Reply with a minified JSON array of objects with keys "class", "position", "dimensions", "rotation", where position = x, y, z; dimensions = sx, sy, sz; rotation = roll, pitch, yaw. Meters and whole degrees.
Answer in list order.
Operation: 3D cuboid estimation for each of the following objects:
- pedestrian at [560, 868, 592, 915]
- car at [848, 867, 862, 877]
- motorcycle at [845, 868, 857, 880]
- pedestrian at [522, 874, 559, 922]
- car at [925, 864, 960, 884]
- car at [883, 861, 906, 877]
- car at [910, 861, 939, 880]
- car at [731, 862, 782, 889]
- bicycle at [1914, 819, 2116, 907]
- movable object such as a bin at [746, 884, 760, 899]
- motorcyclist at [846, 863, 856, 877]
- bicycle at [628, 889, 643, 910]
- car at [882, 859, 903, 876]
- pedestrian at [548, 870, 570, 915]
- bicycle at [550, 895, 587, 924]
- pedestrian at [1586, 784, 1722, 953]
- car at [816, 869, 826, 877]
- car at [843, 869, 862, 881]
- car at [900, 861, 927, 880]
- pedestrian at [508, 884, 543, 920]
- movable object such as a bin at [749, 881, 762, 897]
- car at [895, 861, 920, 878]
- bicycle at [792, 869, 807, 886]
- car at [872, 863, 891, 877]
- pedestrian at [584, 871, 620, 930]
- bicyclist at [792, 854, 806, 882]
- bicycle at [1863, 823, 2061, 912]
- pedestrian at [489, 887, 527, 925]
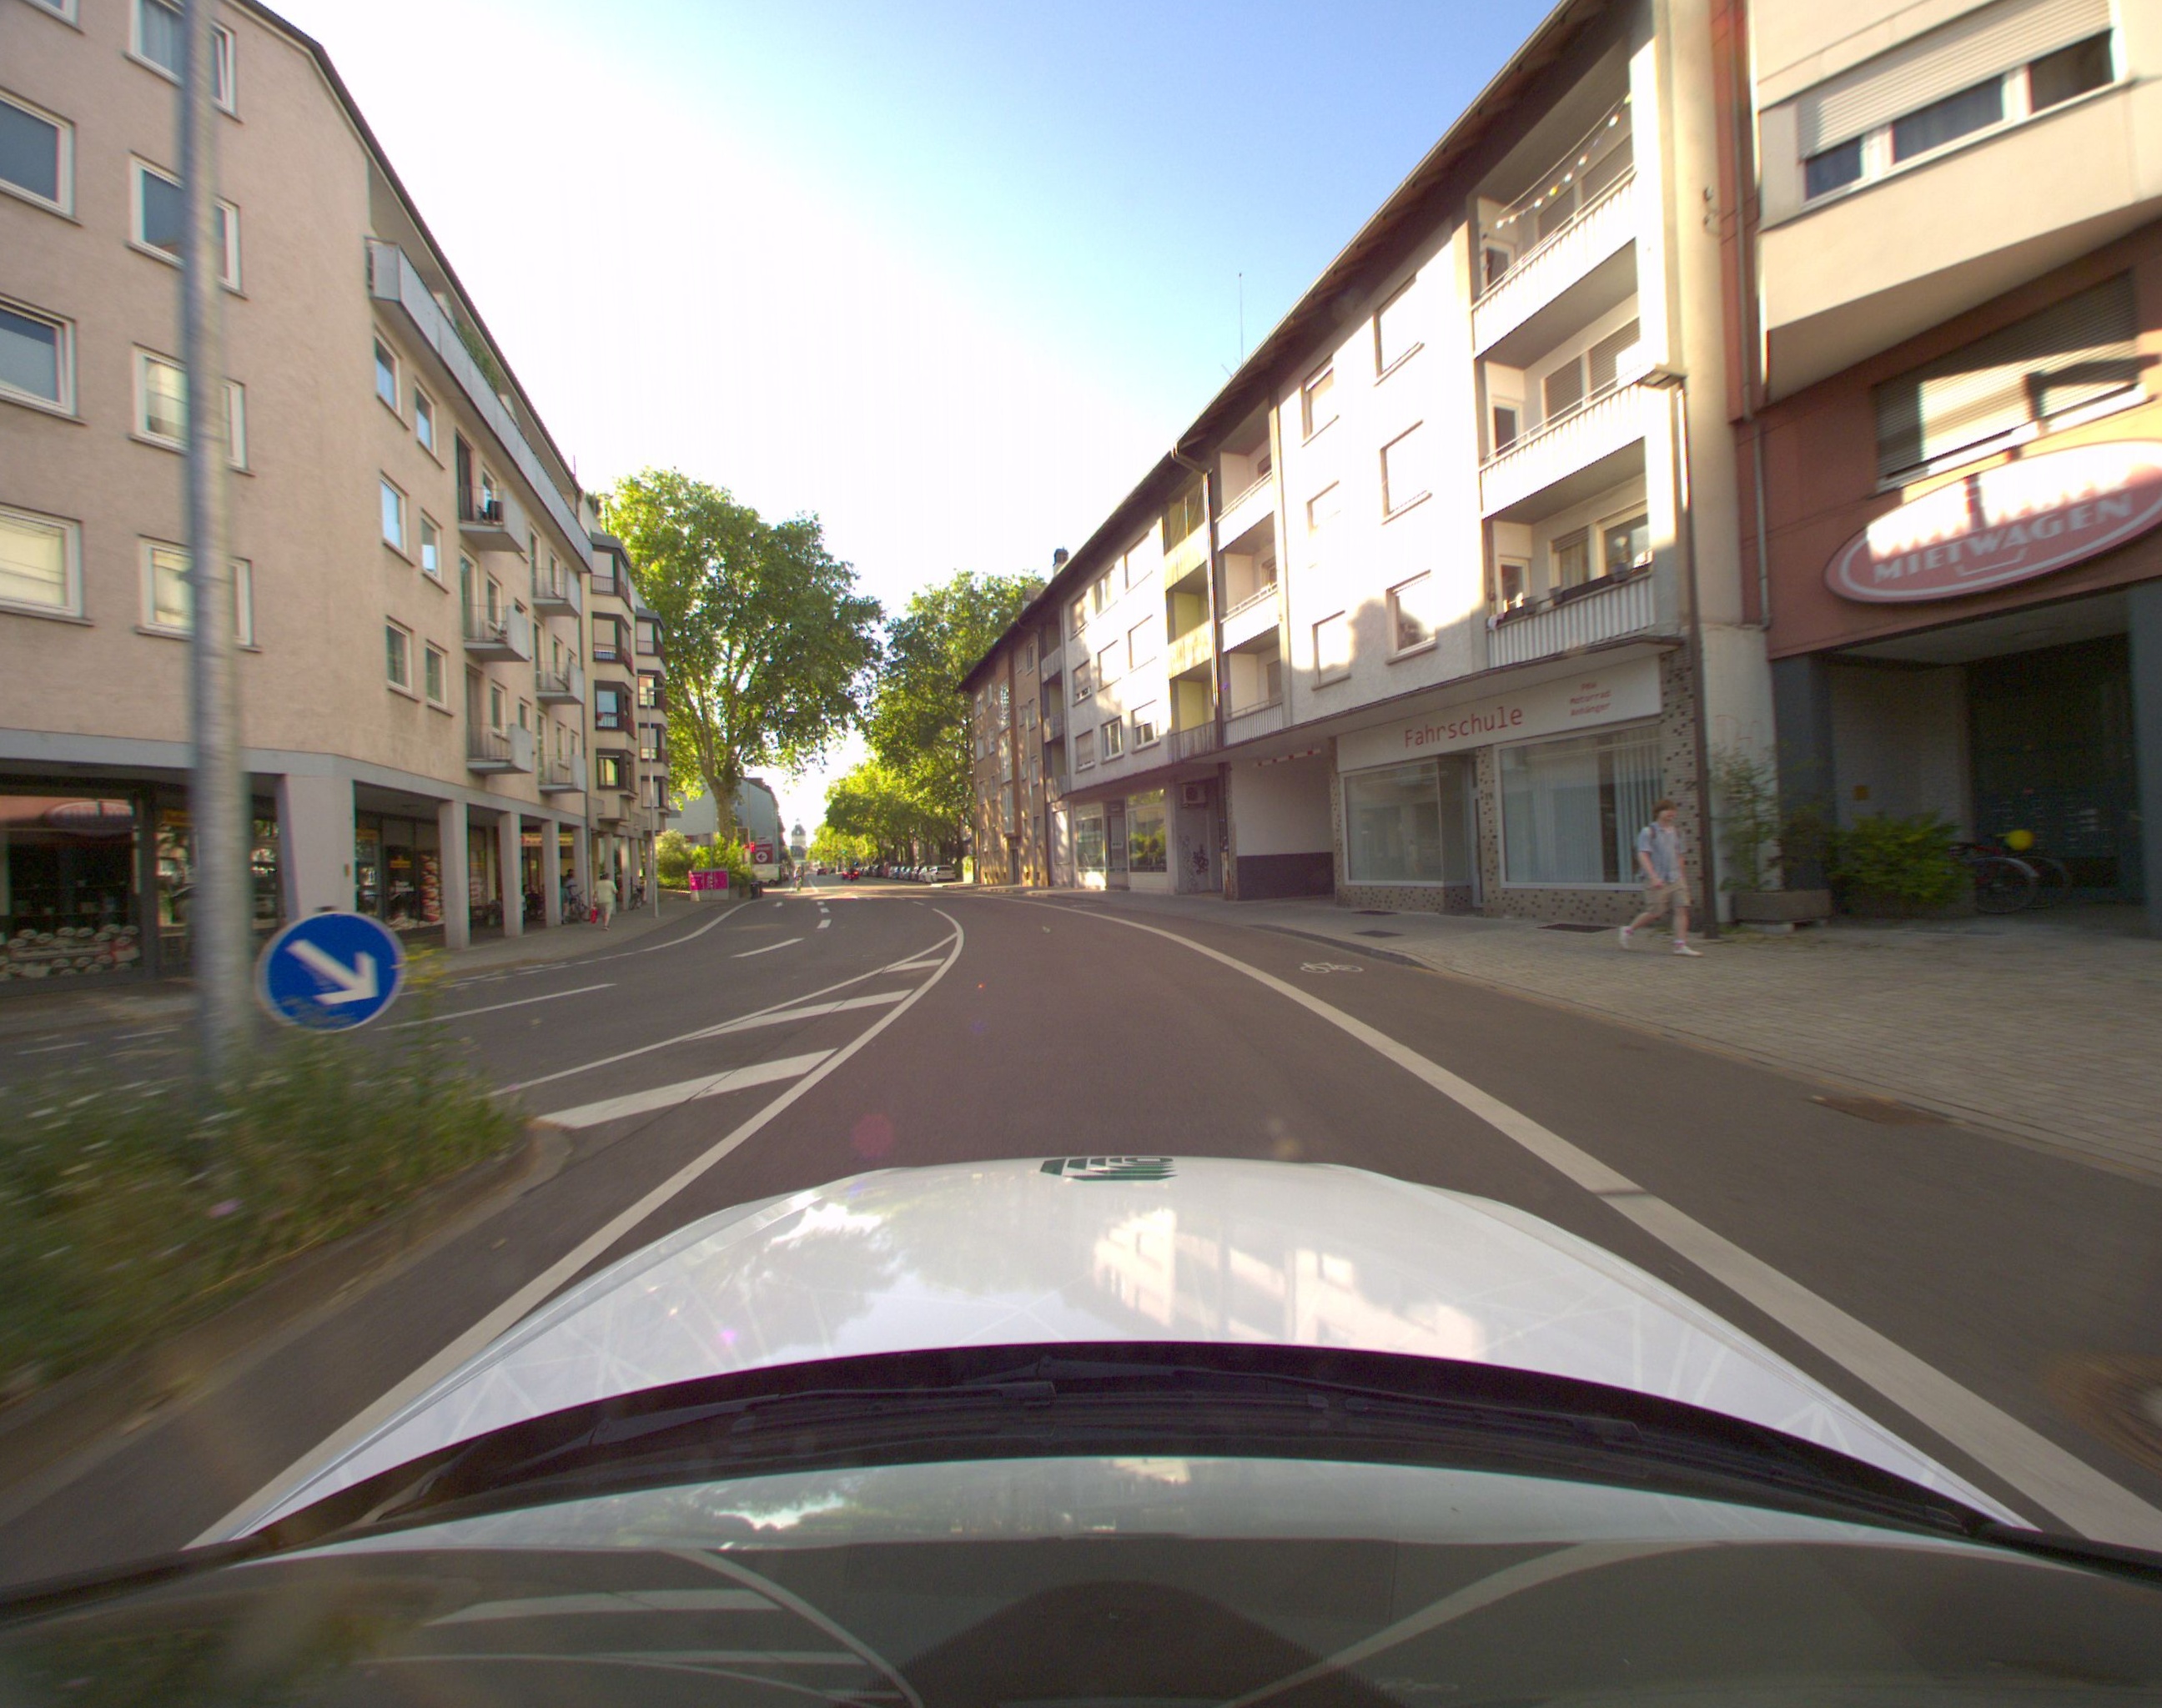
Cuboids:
[{"class":"pedestrian","position":[-19.208,1.417,30.979],"dimensions":[0.855,1.724,0.828],"rotation":[-2,-1,-23]},{"class":"car","position":[-39.524,3.164,142.274],"dimensions":[2.040,1.742,4.066],"rotation":[-3,0,-20]},{"class":"motorcycle","position":[-23.597,2.039,83.437],"dimensions":[0.976,1.132,2.786],"rotation":[-1,0,-20]},{"class":"pedestrian","position":[-20.391,1.655,30.724],"dimensions":[0.831,1.724,0.852],"rotation":[-2,-1,-7]},{"class":"car","position":[-11.215,1.590,65.659],"dimensions":[2.040,1.504,4.066],"rotation":[-3,0,-20]},{"class":"car","position":[-21.987,1.726,95.955],"dimensions":[2.040,1.719,4.066],"rotation":[-2,0,-20]},{"class":"car","position":[-14.703,1.580,76.482],"dimensions":[2.040,1.617,4.066],"rotation":[-3,0,-20]},{"class":"car","position":[-30.922,2.038,77.644],"dimensions":[4.321,2.226,1.985],"rotation":[-3,0,-23]},{"class":"bicycle","position":[11.992,0.107,10.527],"dimensions":[0.496,1.038,1.628],"rotation":[-2,0,-19]},{"class":"movable object such as a bin","position":[-19.426,2.197,48.240],"dimensions":[0.688,0.852,0.575],"rotation":[-1,-1,-20]},{"class":"motorcyclist","position":[-23.555,1.615,83.383],"dimensions":[0.972,1.347,1.132],"rotation":[-1,0,-15]},{"class":"bicycle","position":[-20.203,2.061,36.953],"dimensions":[0.390,0.878,1.601],"rotation":[1,-2,-20]},{"class":"car","position":[-23.150,1.672,100.085],"dimensions":[2.040,1.934,4.066],"rotation":[-2,0,-20]},{"class":"pedestrian","position":[-21.247,1.569,33.139],"dimensions":[0.616,1.795,0.650],"rotation":[-2,-1,-23]},{"class":"bicycle","position":[-17.617,1.887,28.021],"dimensions":[0.635,0.884,1.607],"rotation":[-3,0,-16]},{"class":"pedestrian","position":[6.772,0.166,9.664],"dimensions":[0.734,1.854,0.942],"rotation":[-5,0,-20]},{"class":"car","position":[-56.978,4.123,178.361],"dimensions":[2.040,1.742,4.066],"rotation":[-3,0,-20]},{"class":"car","position":[-27.442,2.484,97.714],"dimensions":[1.929,1.388,3.974],"rotation":[-2,0,-19]},{"class":"car","position":[-16.842,1.657,81.942],"dimensions":[2.040,1.759,4.066],"rotation":[-3,0,-20]},{"class":"pedestrian","position":[-20.287,1.740,29.753],"dimensions":[0.834,1.265,0.849],"rotation":[-2,-1,-19]},{"class":"movable object such as a bin","position":[-19.939,2.146,49.925],"dimensions":[0.705,0.965,0.592],"rotation":[-1,-1,-20]},{"class":"car","position":[-18.689,1.660,87.760],"dimensions":[2.040,1.719,4.066],"rotation":[-3,0,-20]},{"class":"bicycle","position":[-20.398,1.702,59.047],"dimensions":[0.819,1.139,2.320],"rotation":[-3,0,-24]},{"class":"car","position":[-27.164,2.181,110.565],"dimensions":[2.040,1.742,4.066],"rotation":[-2,0,-20]},{"class":"pedestrian","position":[-14.503,1.387,24.686],"dimensions":[0.808,1.724,0.770],"rotation":[-2,-1,-23]},{"class":"bicyclist","position":[-20.467,1.017,59.141],"dimensions":[0.819,1.947,0.851],"rotation":[-3,-1,-24]},{"class":"bicycle","position":[11.164,0.170,10.393],"dimensions":[0.496,1.038,1.628],"rotation":[-2,0,-19]},{"class":"pedestrian","position":[-20.164,1.820,28.677],"dimensions":[0.834,1.265,0.849],"rotation":[-2,-1,-19]}]
